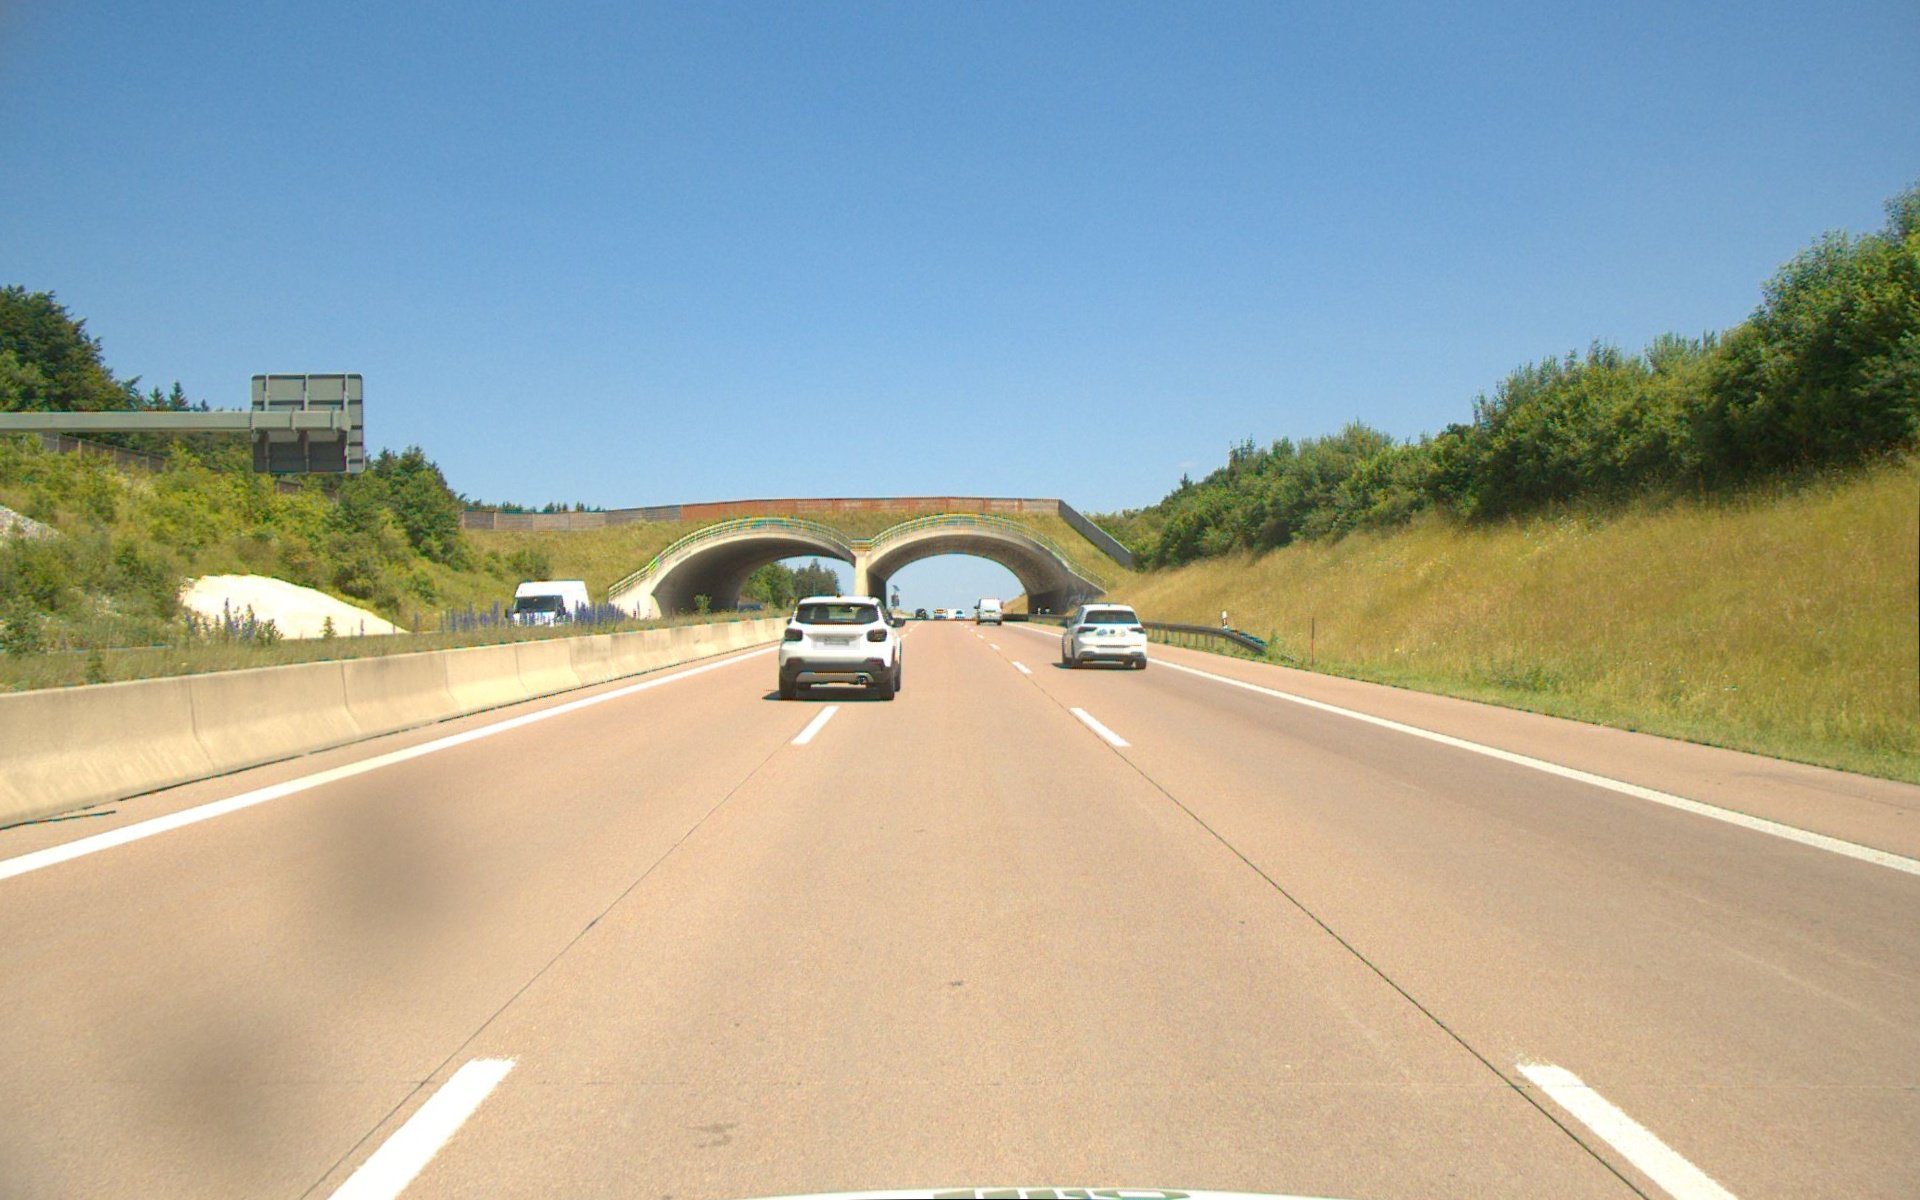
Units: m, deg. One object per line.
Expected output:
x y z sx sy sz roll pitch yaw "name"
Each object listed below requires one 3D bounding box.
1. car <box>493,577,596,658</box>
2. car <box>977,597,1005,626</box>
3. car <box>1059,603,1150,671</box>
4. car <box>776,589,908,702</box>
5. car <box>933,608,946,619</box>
-16.651 0.611 66.742 2.360 3.021 7.501 0 1 -1 "car"
2.311 0.843 123.056 2.067 2.089 4.001 0 1 1 "car"
3.371 0.828 39.108 1.852 1.422 4.001 1 1 1 "car"
-1.792 0.651 26.513 1.841 1.635 4.833 0 0 -1 "car"
-2.948 2.026 243.041 1.852 1.489 4.000 1 1 -1 "car"
